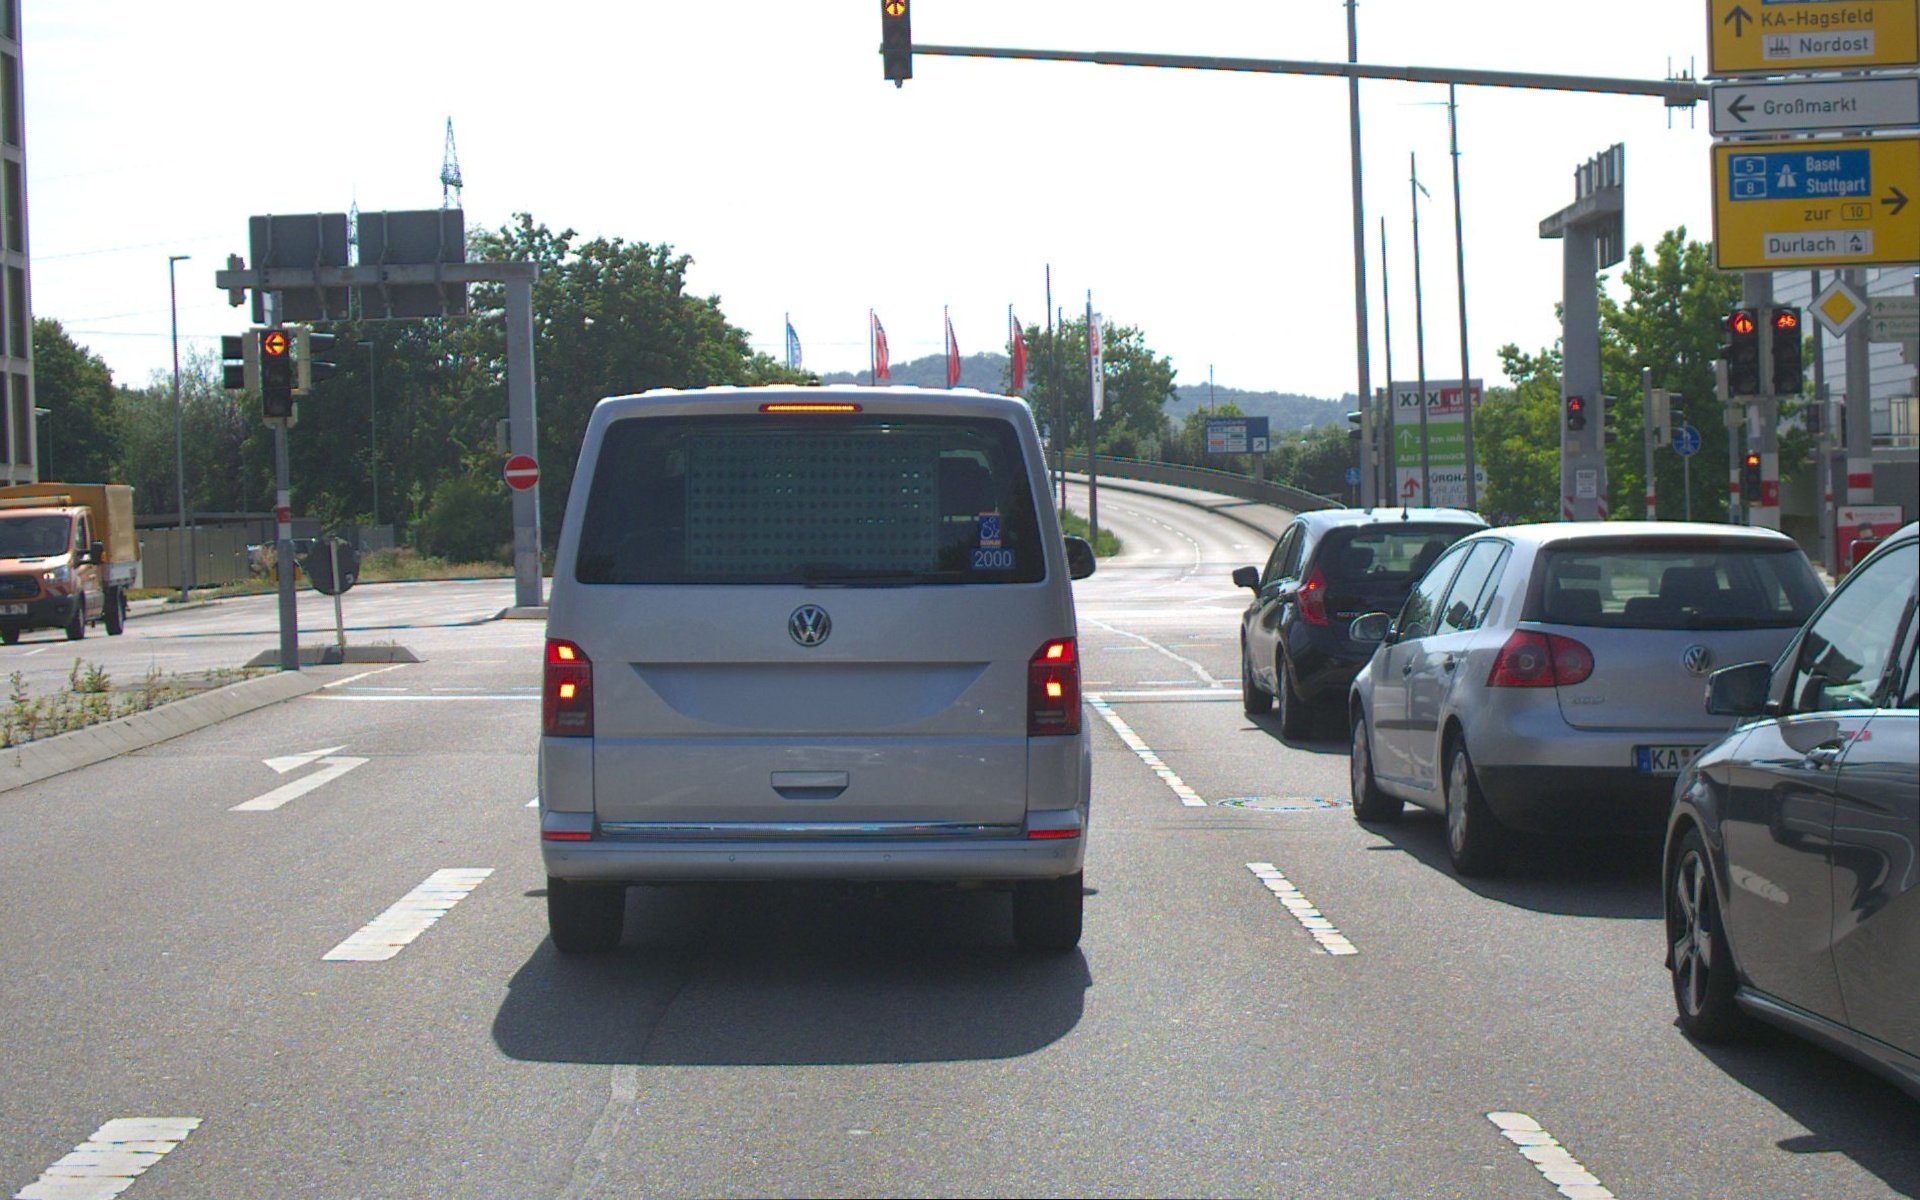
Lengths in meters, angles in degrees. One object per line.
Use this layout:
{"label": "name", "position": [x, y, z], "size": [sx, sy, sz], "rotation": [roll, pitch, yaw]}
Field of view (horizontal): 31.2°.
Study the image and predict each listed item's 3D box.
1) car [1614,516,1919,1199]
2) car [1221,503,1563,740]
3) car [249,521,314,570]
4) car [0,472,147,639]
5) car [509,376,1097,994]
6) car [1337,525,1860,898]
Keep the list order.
{"label": "car", "position": [2.911, 0.553, 8.477], "size": [1.746, 1.511, 4.078], "rotation": [0, 1, -1]}
{"label": "car", "position": [2.937, 0.087, 24.146], "size": [1.836, 1.520, 4.000], "rotation": [0, 1, -1]}
{"label": "car", "position": [-28.605, -2.315, 145.066], "size": [1.993, 2.007, 4.000], "rotation": [0, 1, -1]}
{"label": "car", "position": [-15.227, -0.759, 56.888], "size": [2.405, 2.552, 6.897], "rotation": [-2, 2, -5]}
{"label": "car", "position": [-0.534, 0.221, 13.065], "size": [1.884, 1.983, 4.000], "rotation": [0, 1, -1]}
{"label": "car", "position": [2.729, 0.398, 15.470], "size": [1.578, 1.453, 3.786], "rotation": [0, 1, -1]}
